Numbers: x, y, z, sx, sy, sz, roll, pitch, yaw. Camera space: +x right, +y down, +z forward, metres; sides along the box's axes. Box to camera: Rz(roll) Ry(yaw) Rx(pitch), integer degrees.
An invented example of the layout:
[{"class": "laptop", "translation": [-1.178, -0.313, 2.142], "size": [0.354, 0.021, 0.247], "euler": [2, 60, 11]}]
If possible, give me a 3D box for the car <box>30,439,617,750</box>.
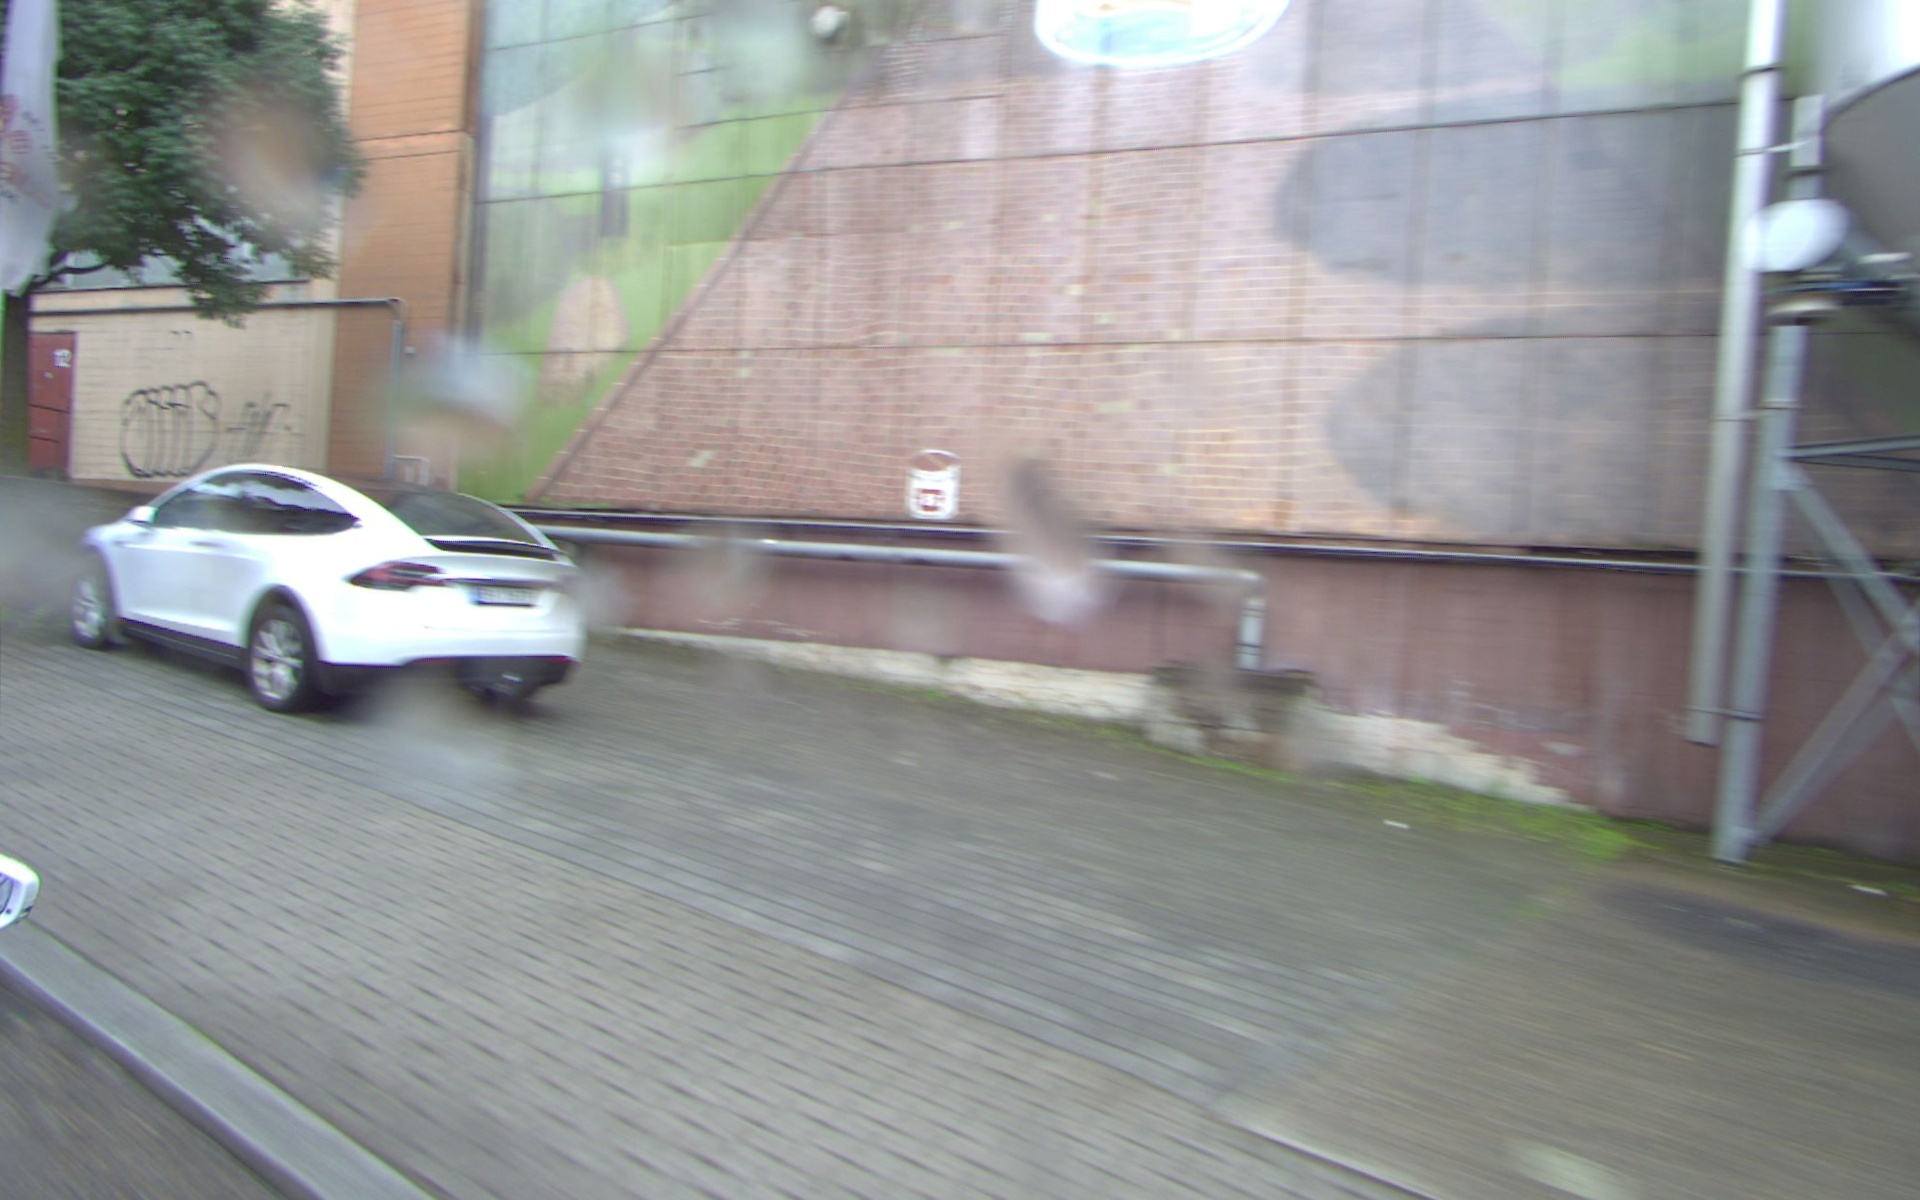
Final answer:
[{"class": "car", "translation": [-5.250, -0.191, 8.111], "size": [4.830, 1.639, 1.854], "euler": [9, 3, 29]}]
